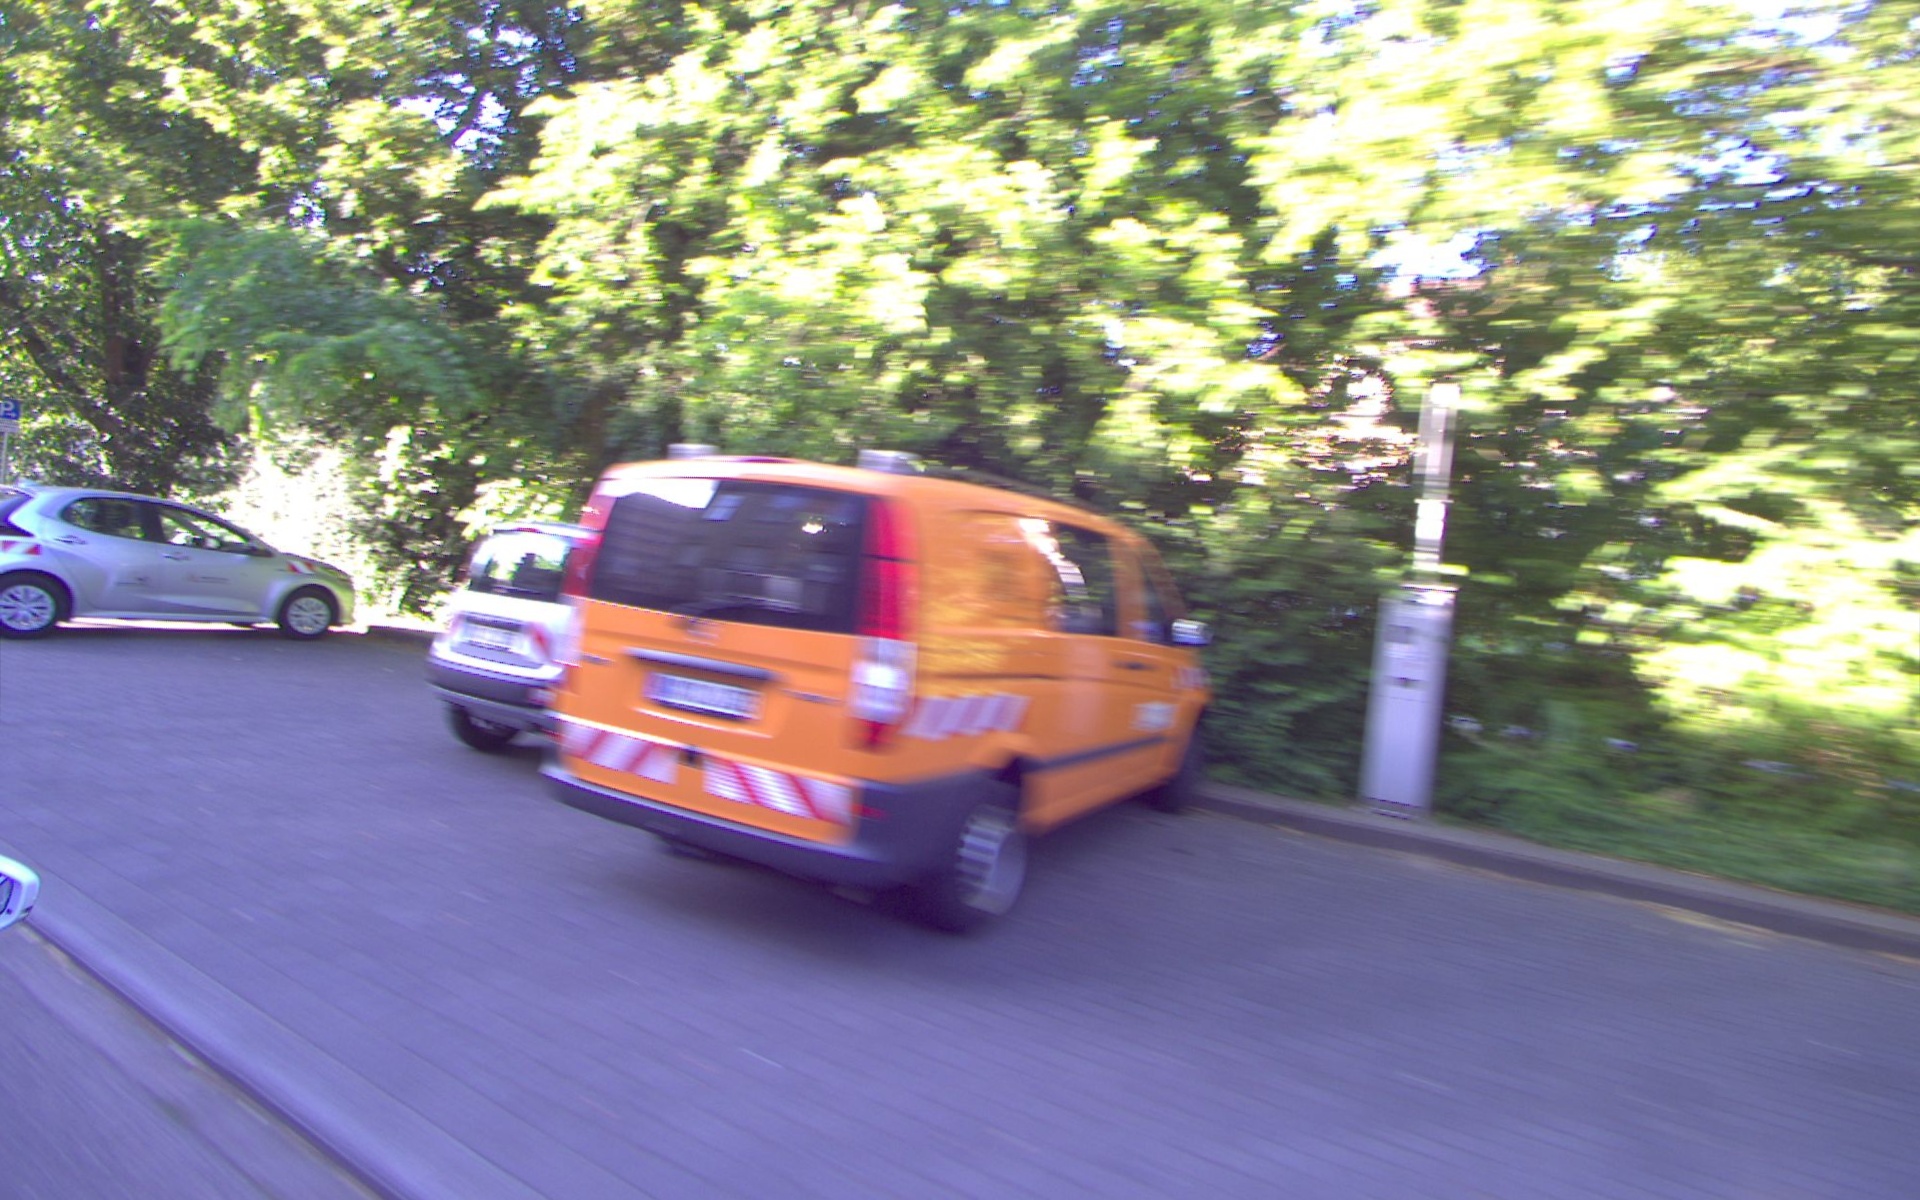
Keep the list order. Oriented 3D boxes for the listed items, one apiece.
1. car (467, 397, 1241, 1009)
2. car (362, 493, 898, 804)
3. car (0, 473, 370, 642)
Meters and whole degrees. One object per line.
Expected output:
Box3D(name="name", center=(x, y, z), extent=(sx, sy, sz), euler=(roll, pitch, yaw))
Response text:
Box3D(name="car", center=(-0.013, 0.315, 5.907), extent=(2.045, 2.024, 4.800), euler=(6, 2, 28))
Box3D(name="car", center=(-2.173, 0.282, 7.405), extent=(1.652, 1.653, 3.397), euler=(7, 2, 32))
Box3D(name="car", center=(-8.933, -0.428, 10.924), extent=(1.706, 1.567, 3.989), euler=(7, 2, 30))
